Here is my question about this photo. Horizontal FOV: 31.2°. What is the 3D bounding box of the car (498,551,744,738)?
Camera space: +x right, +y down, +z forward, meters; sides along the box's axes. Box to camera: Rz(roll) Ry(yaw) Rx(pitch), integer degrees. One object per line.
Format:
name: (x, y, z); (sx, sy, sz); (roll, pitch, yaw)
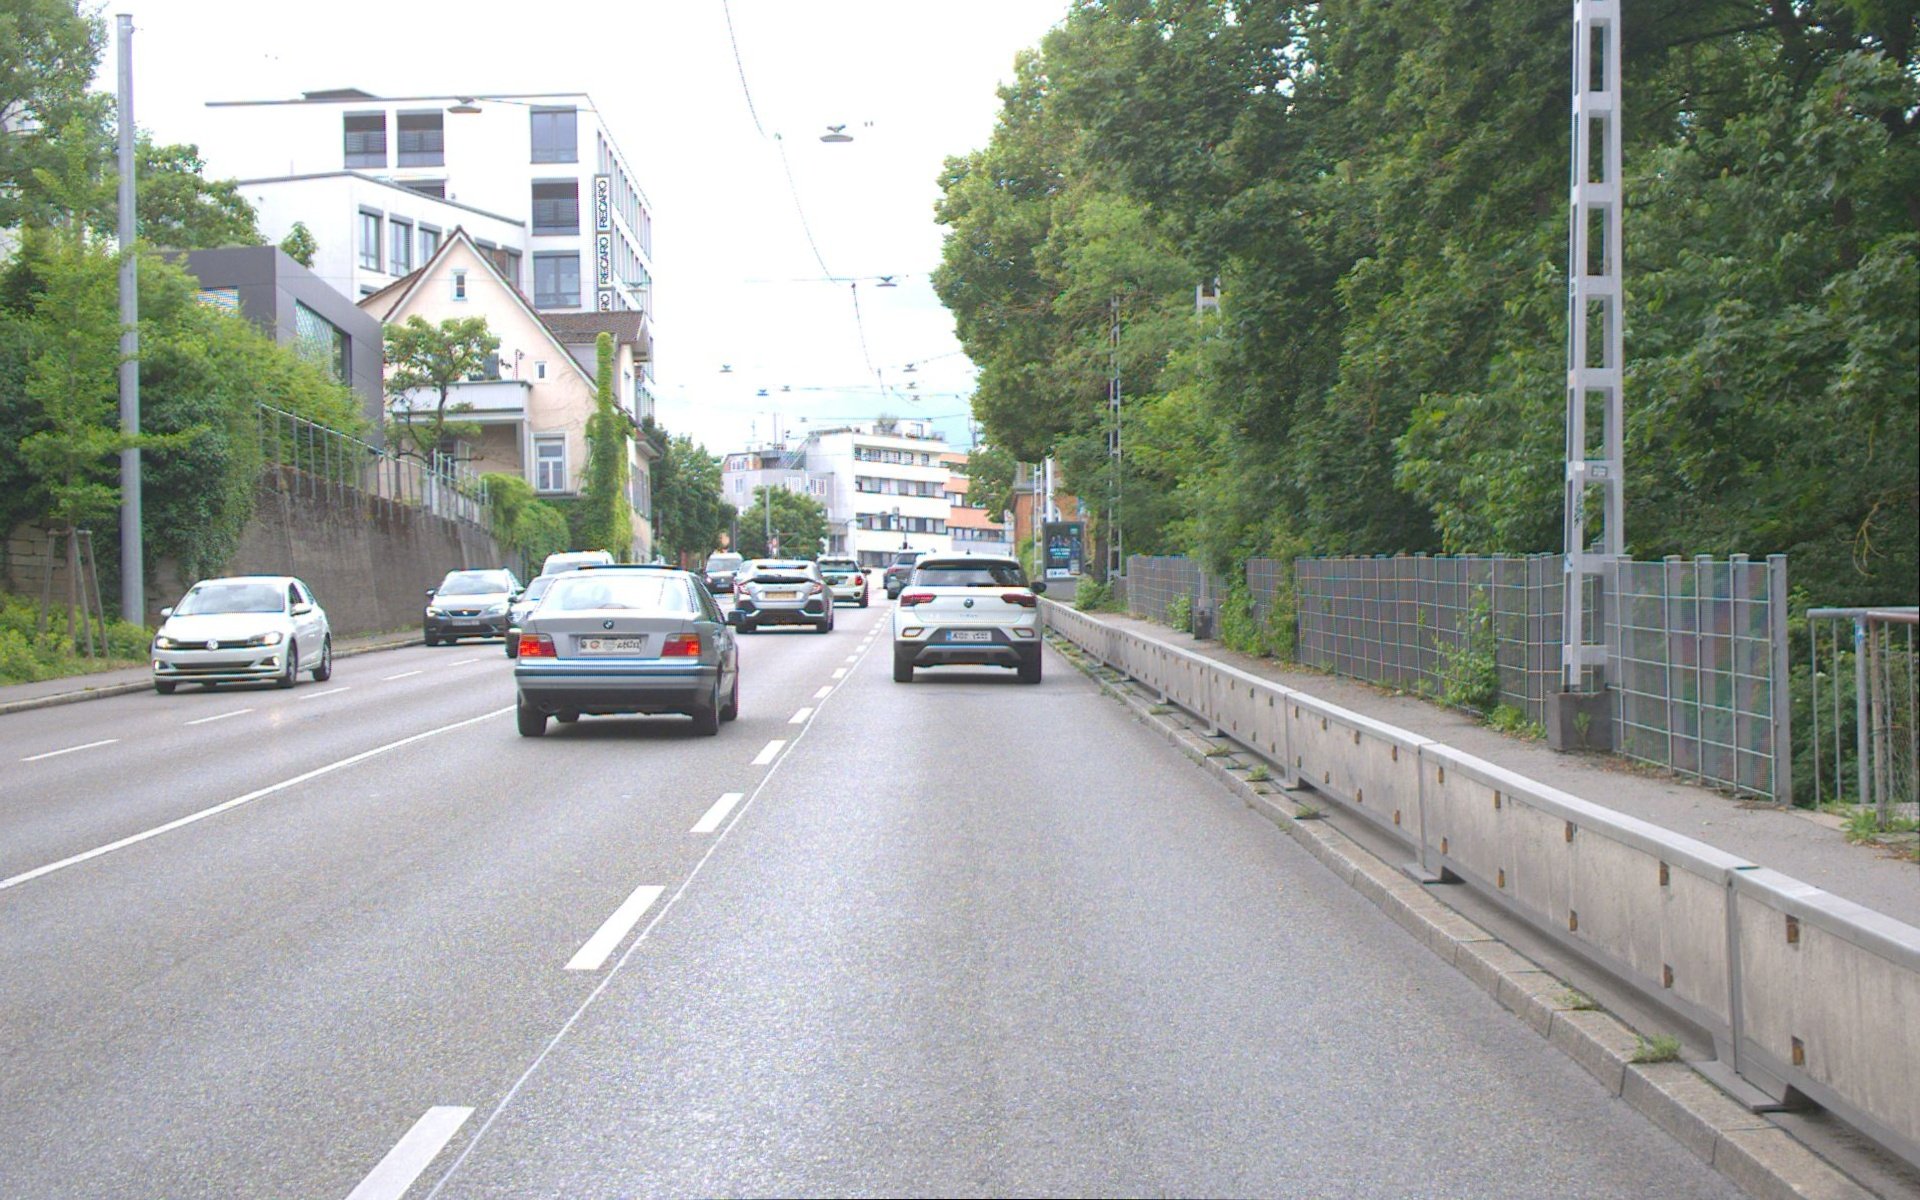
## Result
car: (-2.803, 0.326, 29.140); (1.706, 1.459, 4.000); (1, 1, 0)

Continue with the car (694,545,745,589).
car: (-9.934, -1.382, 142.283); (1.816, 1.778, 4.495); (0, 1, 0)

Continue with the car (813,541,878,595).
car: (-3.202, -0.917, 96.903); (1.706, 1.459, 4.000); (-1, 1, 0)

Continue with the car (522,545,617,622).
car: (-9.577, -0.434, 84.573); (1.733, 1.782, 4.867); (-2, 1, 0)

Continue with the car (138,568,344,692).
car: (-9.269, 0.353, 44.604); (1.773, 1.459, 4.192); (-2, 1, 0)

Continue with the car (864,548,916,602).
car: (-2.312, -0.834, 113.686); (1.656, 1.759, 3.287); (0, 1, 0)

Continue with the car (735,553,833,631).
car: (-3.426, -0.178, 67.488); (1.706, 1.459, 4.000); (-1, 1, 0)

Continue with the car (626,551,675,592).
car: (-13.069, -1.206, 145.345); (1.993, 1.695, 4.001); (0, 1, -4)

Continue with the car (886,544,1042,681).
car: (0.007, 0.117, 41.770); (1.780, 1.573, 4.000); (0, 1, -1)

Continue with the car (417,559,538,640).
car: (-9.464, -0.031, 67.722); (1.733, 1.459, 4.424); (-2, 1, 0)

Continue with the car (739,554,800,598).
car: (-6.464, -0.842, 116.971); (1.815, 1.382, 4.463); (-3, 1, 0)

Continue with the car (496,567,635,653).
car: (-6.337, 0.131, 55.579); (1.753, 1.264, 4.192); (-2, 1, 0)
